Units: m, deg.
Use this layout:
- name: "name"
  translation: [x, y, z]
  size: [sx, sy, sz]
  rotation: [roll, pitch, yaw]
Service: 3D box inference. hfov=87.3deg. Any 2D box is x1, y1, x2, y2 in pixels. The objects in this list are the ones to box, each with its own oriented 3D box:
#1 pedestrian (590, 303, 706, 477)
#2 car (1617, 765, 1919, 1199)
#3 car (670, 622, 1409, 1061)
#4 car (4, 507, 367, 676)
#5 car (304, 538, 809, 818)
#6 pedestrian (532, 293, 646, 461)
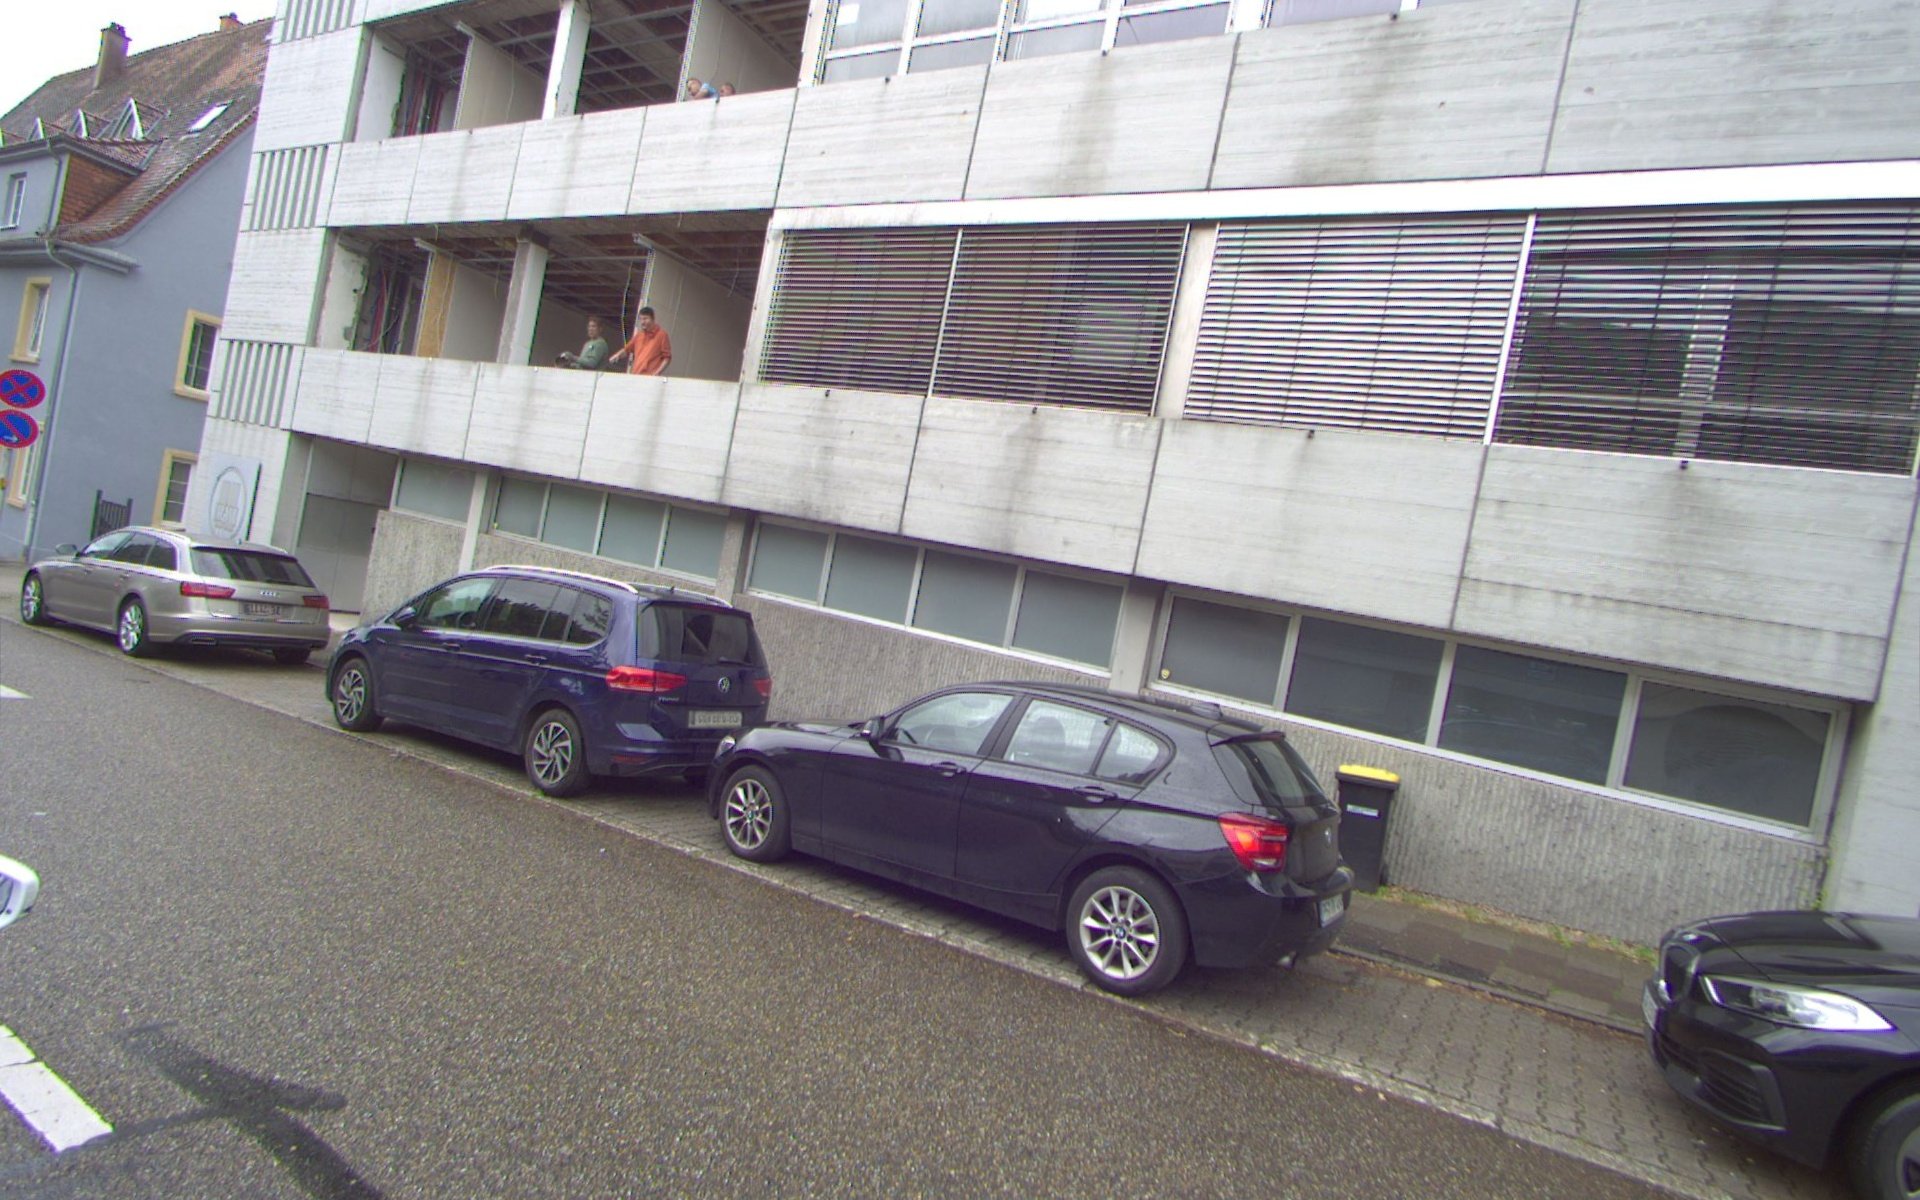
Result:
- name: "pedestrian"
  translation: [-4.134, -2.744, 13.362]
  size: [0.847, 2.036, 0.909]
  rotation: [6, -2, 31]
- name: "car"
  translation: [5.082, 1.779, 3.534]
  size: [4.367, 1.452, 1.997]
  rotation: [7, 0, 30]
- name: "car"
  translation: [0.330, 1.167, 6.311]
  size: [4.183, 1.465, 1.750]
  rotation: [7, -1, 34]
- name: "car"
  translation: [-9.810, -0.128, 12.674]
  size: [4.449, 1.465, 1.967]
  rotation: [7, -1, 30]
- name: "car"
  translation: [-3.535, 0.551, 8.651]
  size: [4.090, 1.618, 1.732]
  rotation: [7, -1, 30]
- name: "pedestrian"
  translation: [-5.108, -3.034, 13.871]
  size: [0.847, 2.036, 0.909]
  rotation: [6, -2, 31]
